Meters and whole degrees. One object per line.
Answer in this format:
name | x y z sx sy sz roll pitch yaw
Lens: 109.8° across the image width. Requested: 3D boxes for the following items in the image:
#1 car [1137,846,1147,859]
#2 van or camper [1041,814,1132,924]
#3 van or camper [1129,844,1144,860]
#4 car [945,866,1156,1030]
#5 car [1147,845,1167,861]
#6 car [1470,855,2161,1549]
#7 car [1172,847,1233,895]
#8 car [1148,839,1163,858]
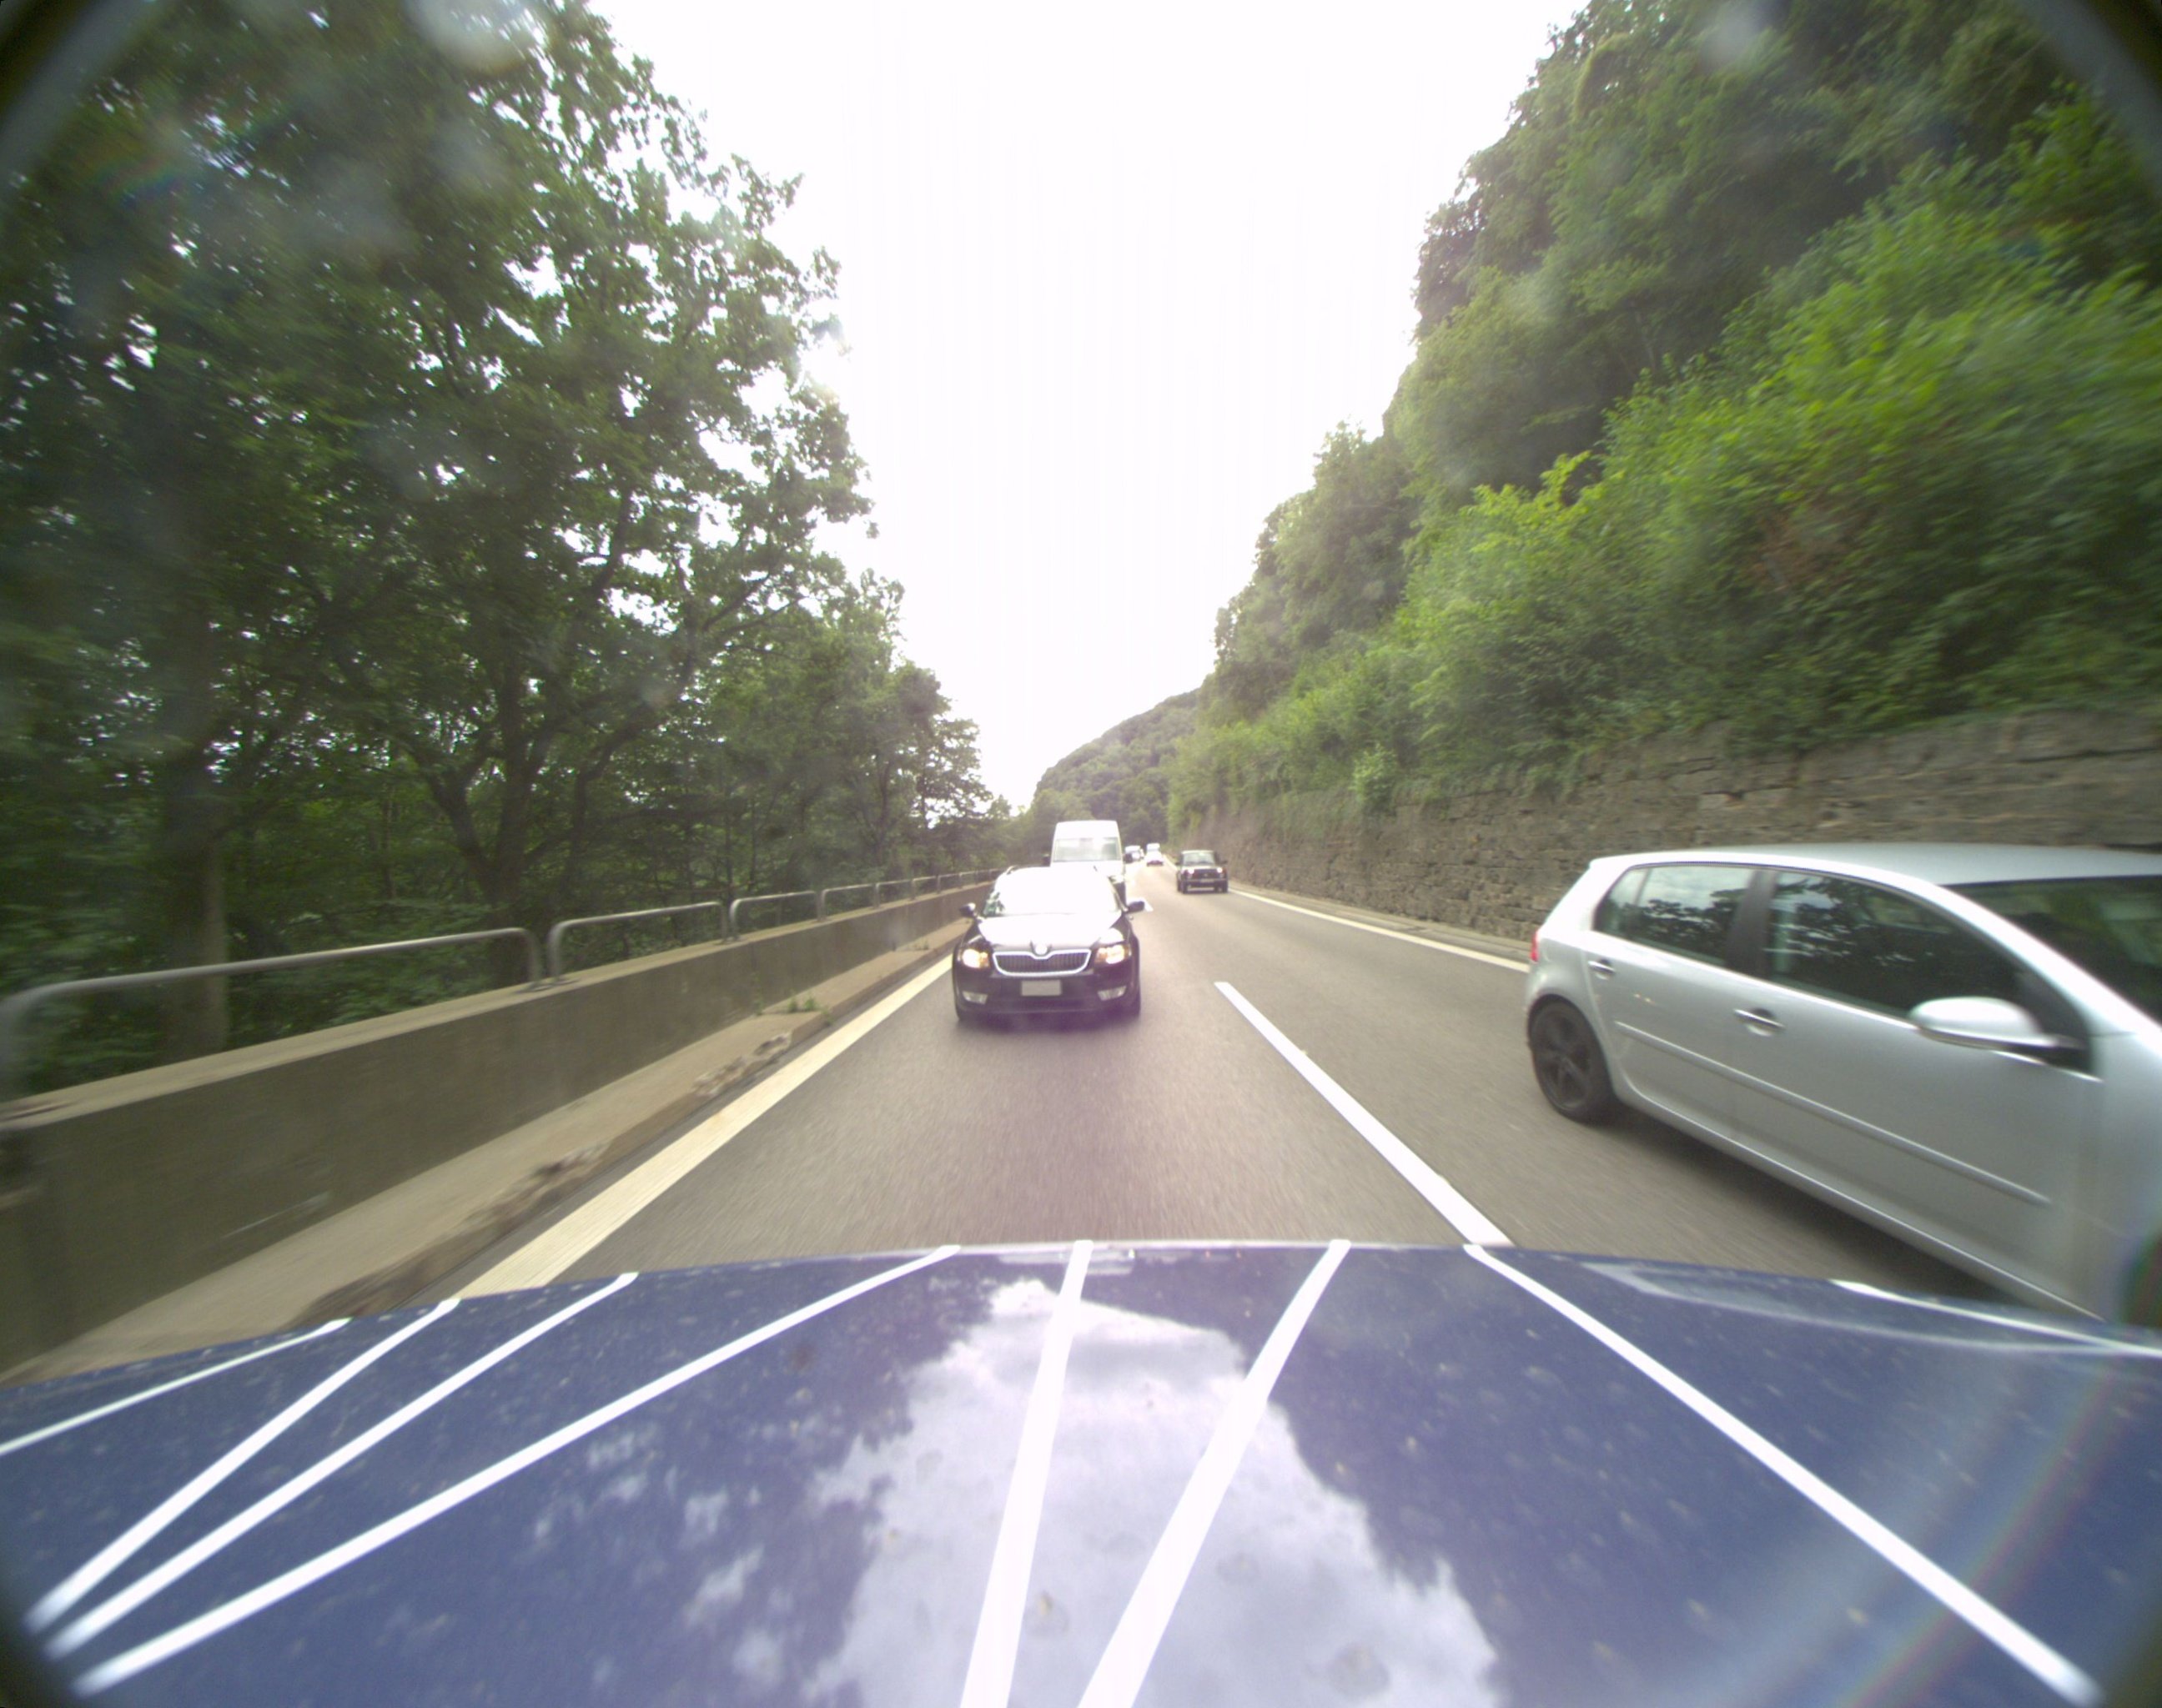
car | 12.726 -0.312 158.263 1.976 2.545 4.584 -2 0 3
van or camper | 0.249 0.364 21.923 2.081 2.575 5.912 -5 0 2
van or camper | 9.232 -0.334 127.243 2.269 2.527 5.912 -4 1 4
car | -0.165 0.970 9.918 1.998 1.389 5.009 -3 0 3
car | 8.241 -0.120 82.709 1.813 1.646 4.583 -3 0 1
car | 3.341 0.811 2.661 1.685 1.506 4.583 -3 0 2
car | 4.653 0.603 29.687 1.812 1.646 4.584 -3 0 3
car | 10.741 -0.758 110.127 1.975 2.628 4.584 -2 0 4
